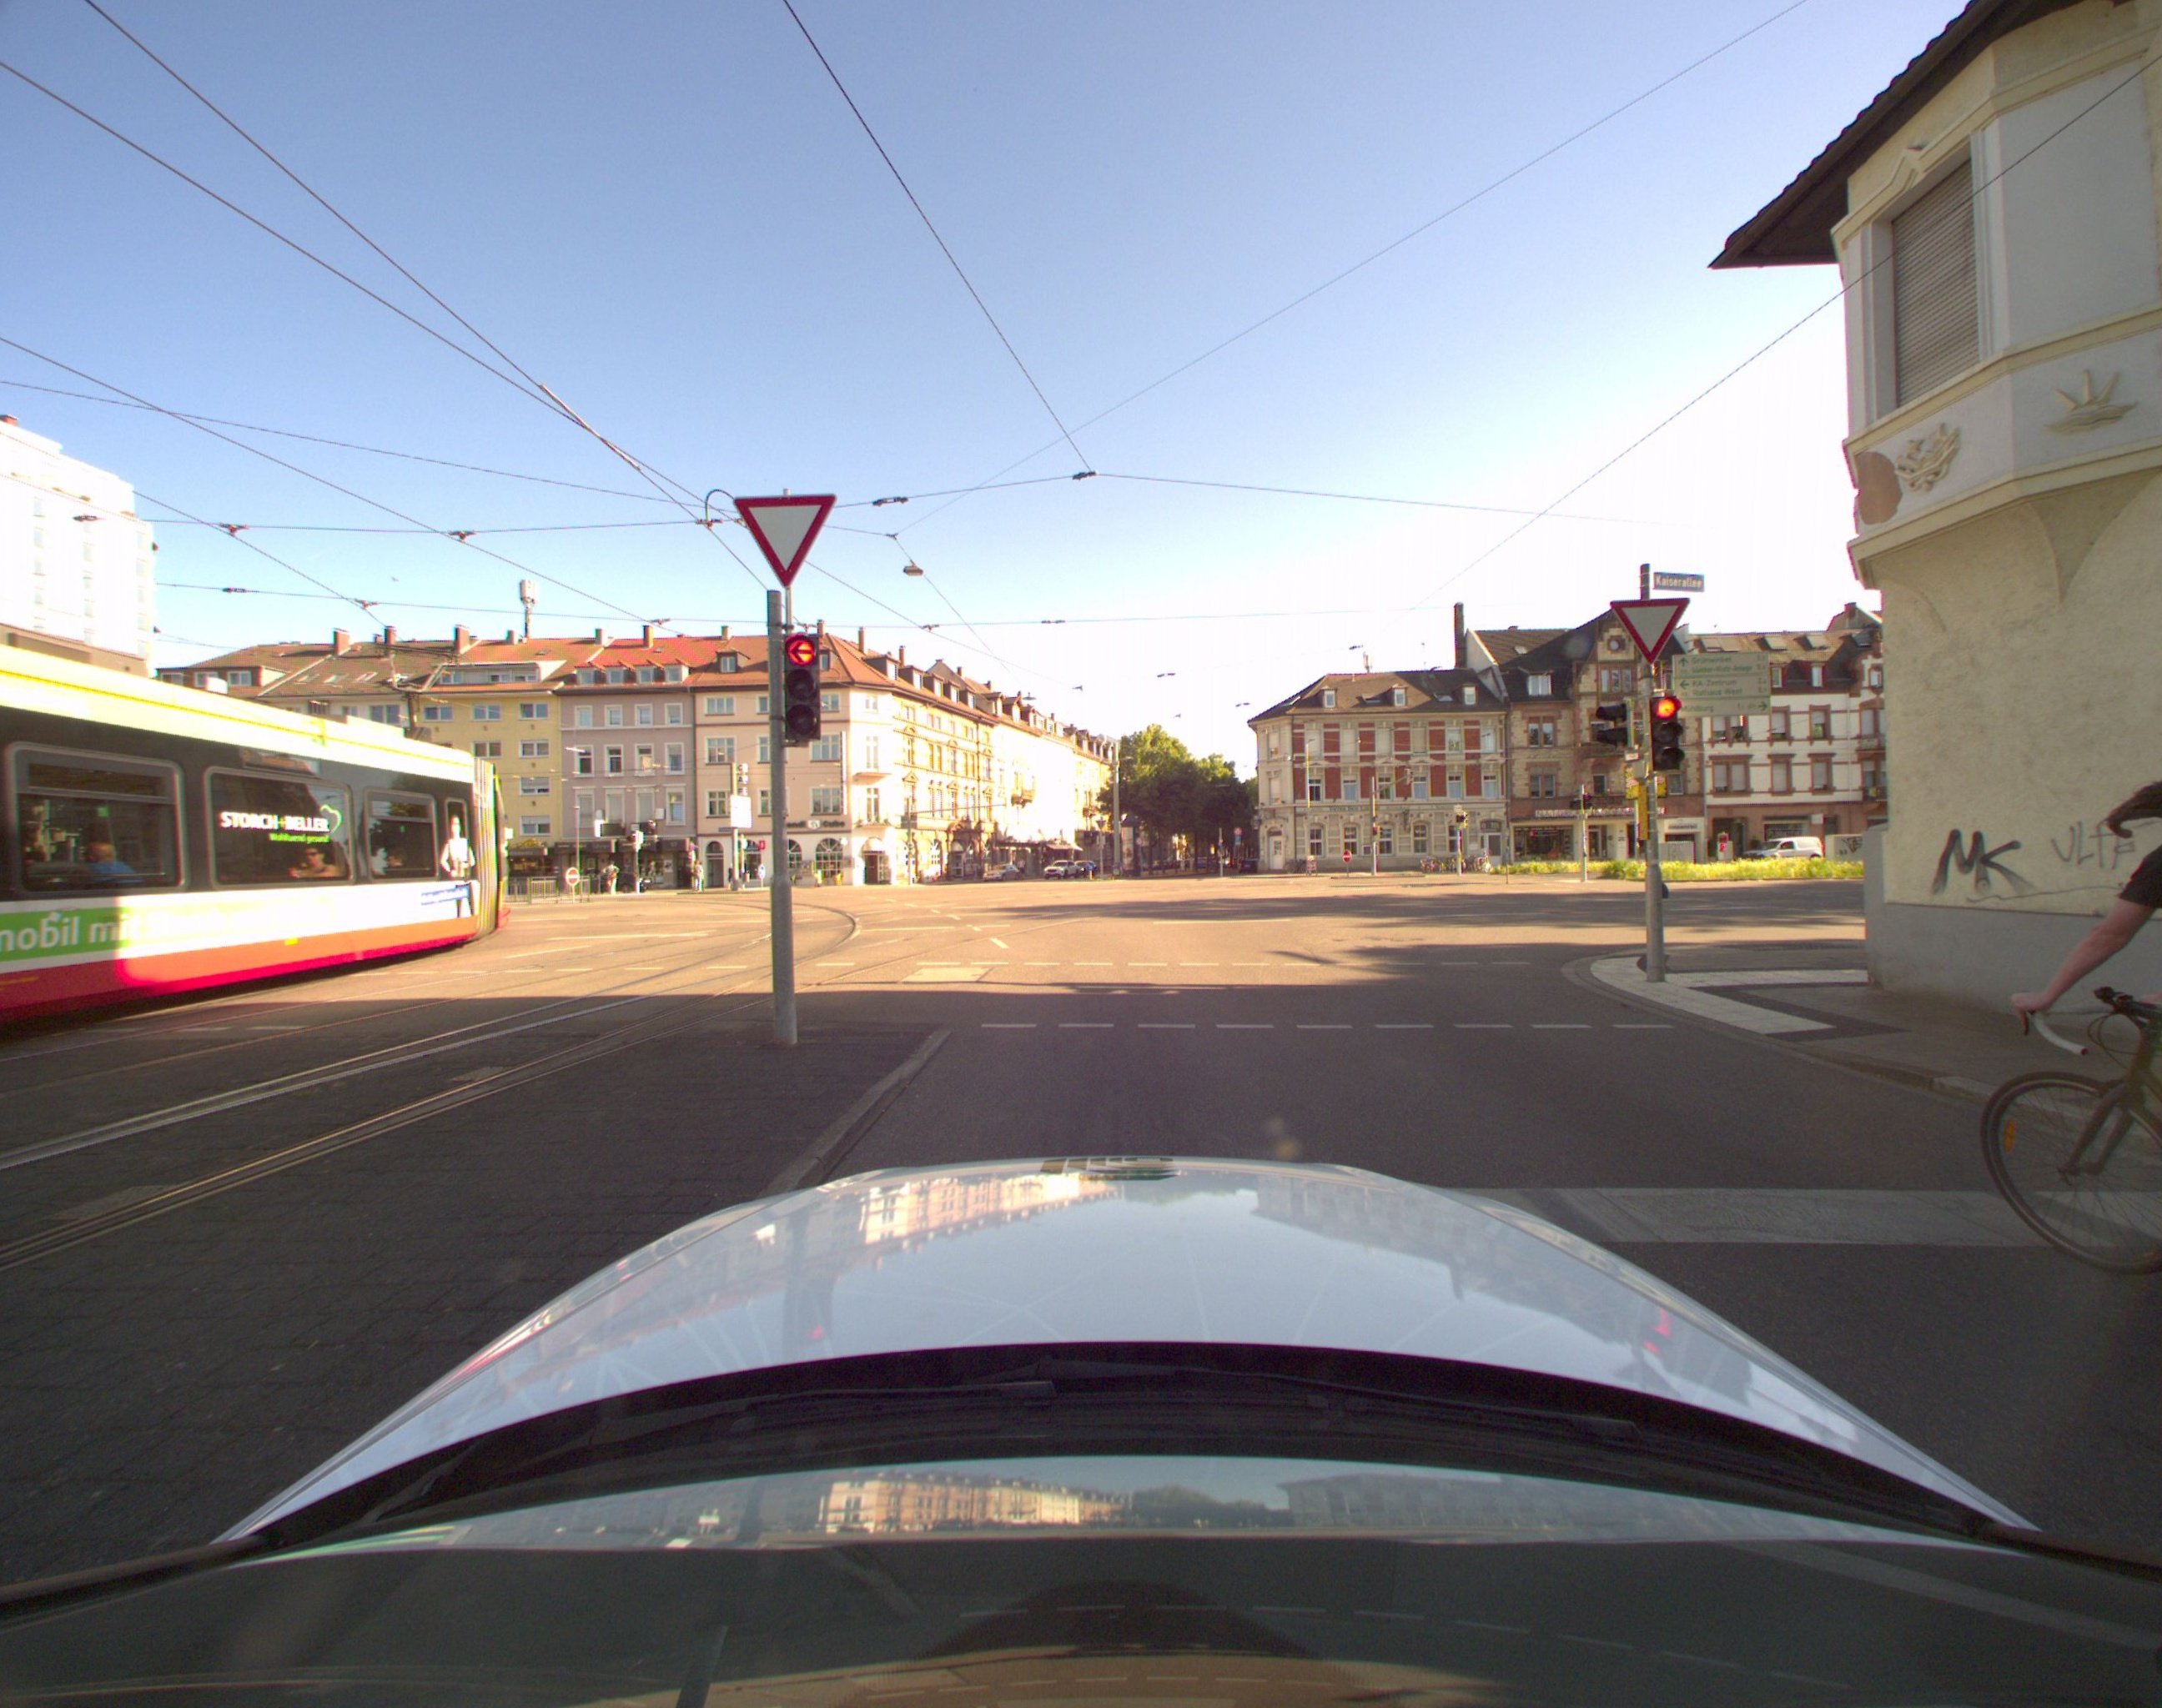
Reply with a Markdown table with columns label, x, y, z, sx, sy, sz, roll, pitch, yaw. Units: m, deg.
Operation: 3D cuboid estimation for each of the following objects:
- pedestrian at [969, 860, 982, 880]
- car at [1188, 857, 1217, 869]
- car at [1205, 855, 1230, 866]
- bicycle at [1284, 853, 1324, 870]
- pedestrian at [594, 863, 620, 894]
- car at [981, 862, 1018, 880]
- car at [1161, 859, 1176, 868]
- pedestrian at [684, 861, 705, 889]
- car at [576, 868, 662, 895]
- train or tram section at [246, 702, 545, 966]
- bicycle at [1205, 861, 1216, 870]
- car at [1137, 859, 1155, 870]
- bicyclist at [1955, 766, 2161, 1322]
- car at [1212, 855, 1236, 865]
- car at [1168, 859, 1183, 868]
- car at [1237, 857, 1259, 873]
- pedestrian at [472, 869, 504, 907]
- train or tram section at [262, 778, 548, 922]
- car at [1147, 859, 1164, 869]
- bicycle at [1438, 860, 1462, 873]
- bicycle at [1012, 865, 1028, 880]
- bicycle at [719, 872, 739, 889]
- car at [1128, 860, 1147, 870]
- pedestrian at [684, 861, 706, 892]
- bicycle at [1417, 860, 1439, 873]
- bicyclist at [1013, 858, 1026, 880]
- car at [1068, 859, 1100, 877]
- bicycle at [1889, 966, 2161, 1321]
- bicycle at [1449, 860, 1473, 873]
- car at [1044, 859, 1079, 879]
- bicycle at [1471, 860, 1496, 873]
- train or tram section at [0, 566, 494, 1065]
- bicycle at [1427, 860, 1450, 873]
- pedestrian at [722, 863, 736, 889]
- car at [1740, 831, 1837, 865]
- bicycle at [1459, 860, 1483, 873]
| label | x | y | z | sx | sy | sz | roll | pitch | yaw |
| --- | --- | --- | --- | --- | --- | --- | --- | --- | --- |
| pedestrian | -9.081 | 1.357 | 70.029 | 0.770 | 1.670 | 0.834 | -1 | -1 | 17 |
| car | 17.213 | 1.252 | 115.447 | 3.870 | 1.648 | 1.691 | -2 | 0 | 19 |
| car | 21.459 | 1.053 | 127.713 | 3.549 | 1.648 | 1.691 | -2 | 0 | 19 |
| bicycle | 15.607 | 0.497 | 57.052 | 2.547 | 1.174 | 0.818 | 0 | -1 | -1 |
| pedestrian | -24.769 | 1.289 | 42.549 | 0.842 | 1.577 | 0.836 | -1 | -1 | 11 |
| car | -6.705 | 1.423 | 67.221 | 1.664 | 1.354 | 3.608 | -2 | 0 | 19 |
| car | 14.044 | 1.497 | 130.602 | 1.664 | 1.354 | 3.608 | -2 | 0 | 19 |
| pedestrian | -22.352 | 1.199 | 47.057 | 0.719 | 1.577 | 0.837 | -1 | -1 | 18 |
| car | -30.362 | 1.791 | 53.634 | 4.347 | 1.711 | 2.308 | 0 | -1 | 4 |
| train or tram section | -14.003 | -0.236 | 17.993 | 2.951 | 3.814 | 12.695 | -1 | 0 | -31 |
| bicycle | 15.777 | 1.387 | 99.272 | 0.636 | 1.021 | 1.839 | 0 | -1 | -12 |
| car | 9.182 | 1.488 | 115.440 | 1.664 | 1.354 | 3.608 | -2 | 0 | 19 |
| bicyclist | 3.574 | 0.576 | 2.494 | 0.570 | 1.701 | 1.117 | -1 | 0 | 2 |
| car | 23.366 | 0.959 | 133.146 | 3.549 | 1.648 | 1.691 | -2 | 0 | 19 |
| car | 15.731 | 1.515 | 135.595 | 1.664 | 1.354 | 3.608 | -2 | 0 | 19 |
| car | 16.910 | 1.093 | 82.327 | 1.664 | 1.483 | 3.967 | -2 | 0 | 19 |
| pedestrian | -25.012 | 1.432 | 34.345 | 0.657 | 1.577 | 0.889 | -1 | -1 | 29 |
| train or tram section | -21.793 | 0.009 | 25.897 | 11.965 | 3.814 | 2.960 | -1 | 0 | 30 |
| car | 11.253 | 1.525 | 122.356 | 1.664 | 1.354 | 3.608 | -2 | 0 | 19 |
| bicycle | 23.888 | 0.810 | 52.732 | 0.656 | 0.840 | 2.162 | 0 | -1 | 3 |
| bicycle | -4.890 | 1.483 | 65.529 | 0.696 | 1.118 | 1.642 | -1 | -1 | 16 |
| bicycle | -22.877 | 1.711 | 52.958 | 0.570 | 1.077 | 1.497 | 0 | -1 | 2 |
| car | 7.707 | 1.485 | 111.316 | 1.664 | 1.354 | 3.608 | -2 | 0 | 19 |
| pedestrian | -20.007 | 1.142 | 42.194 | 0.545 | 1.577 | 0.838 | -1 | -1 | 29 |
| bicycle | 22.429 | 0.821 | 52.689 | 0.656 | 0.840 | 2.162 | 0 | -1 | 3 |
| bicyclist | -4.936 | 1.208 | 65.409 | 0.772 | 1.803 | 1.060 | -1 | -1 | 16 |
| car | 0.312 | 1.239 | 73.764 | 1.664 | 1.483 | 3.967 | -2 | 0 | 19 |
| bicycle | 3.598 | 0.957 | 2.503 | 0.516 | 0.970 | 1.750 | -1 | 0 | 2 |
| bicycle | 24.571 | 0.805 | 52.740 | 0.656 | 0.840 | 2.162 | 0 | -1 | 3 |
| car | -1.600 | 1.212 | 67.504 | 1.664 | 1.483 | 3.789 | -2 | 0 | 19 |
| bicycle | 26.011 | 0.794 | 52.709 | 0.656 | 0.840 | 2.162 | 0 | -1 | 3 |
| train or tram section | -9.833 | -0.267 | 6.636 | 2.933 | 3.814 | 13.003 | -1 | 0 | -11 |
| bicycle | 23.164 | 0.816 | 52.747 | 0.656 | 0.840 | 2.162 | 0 | -1 | 3 |
| pedestrian | -22.880 | 1.414 | 52.915 | 0.580 | 1.670 | 0.753 | 0 | -1 | 2 |
| car | 45.446 | -0.388 | 52.391 | 4.406 | 2.013 | 2.002 | -1 | 0 | 4 |
| bicycle | 25.208 | 0.800 | 52.694 | 0.656 | 0.840 | 2.162 | 0 | -1 | 3 |
